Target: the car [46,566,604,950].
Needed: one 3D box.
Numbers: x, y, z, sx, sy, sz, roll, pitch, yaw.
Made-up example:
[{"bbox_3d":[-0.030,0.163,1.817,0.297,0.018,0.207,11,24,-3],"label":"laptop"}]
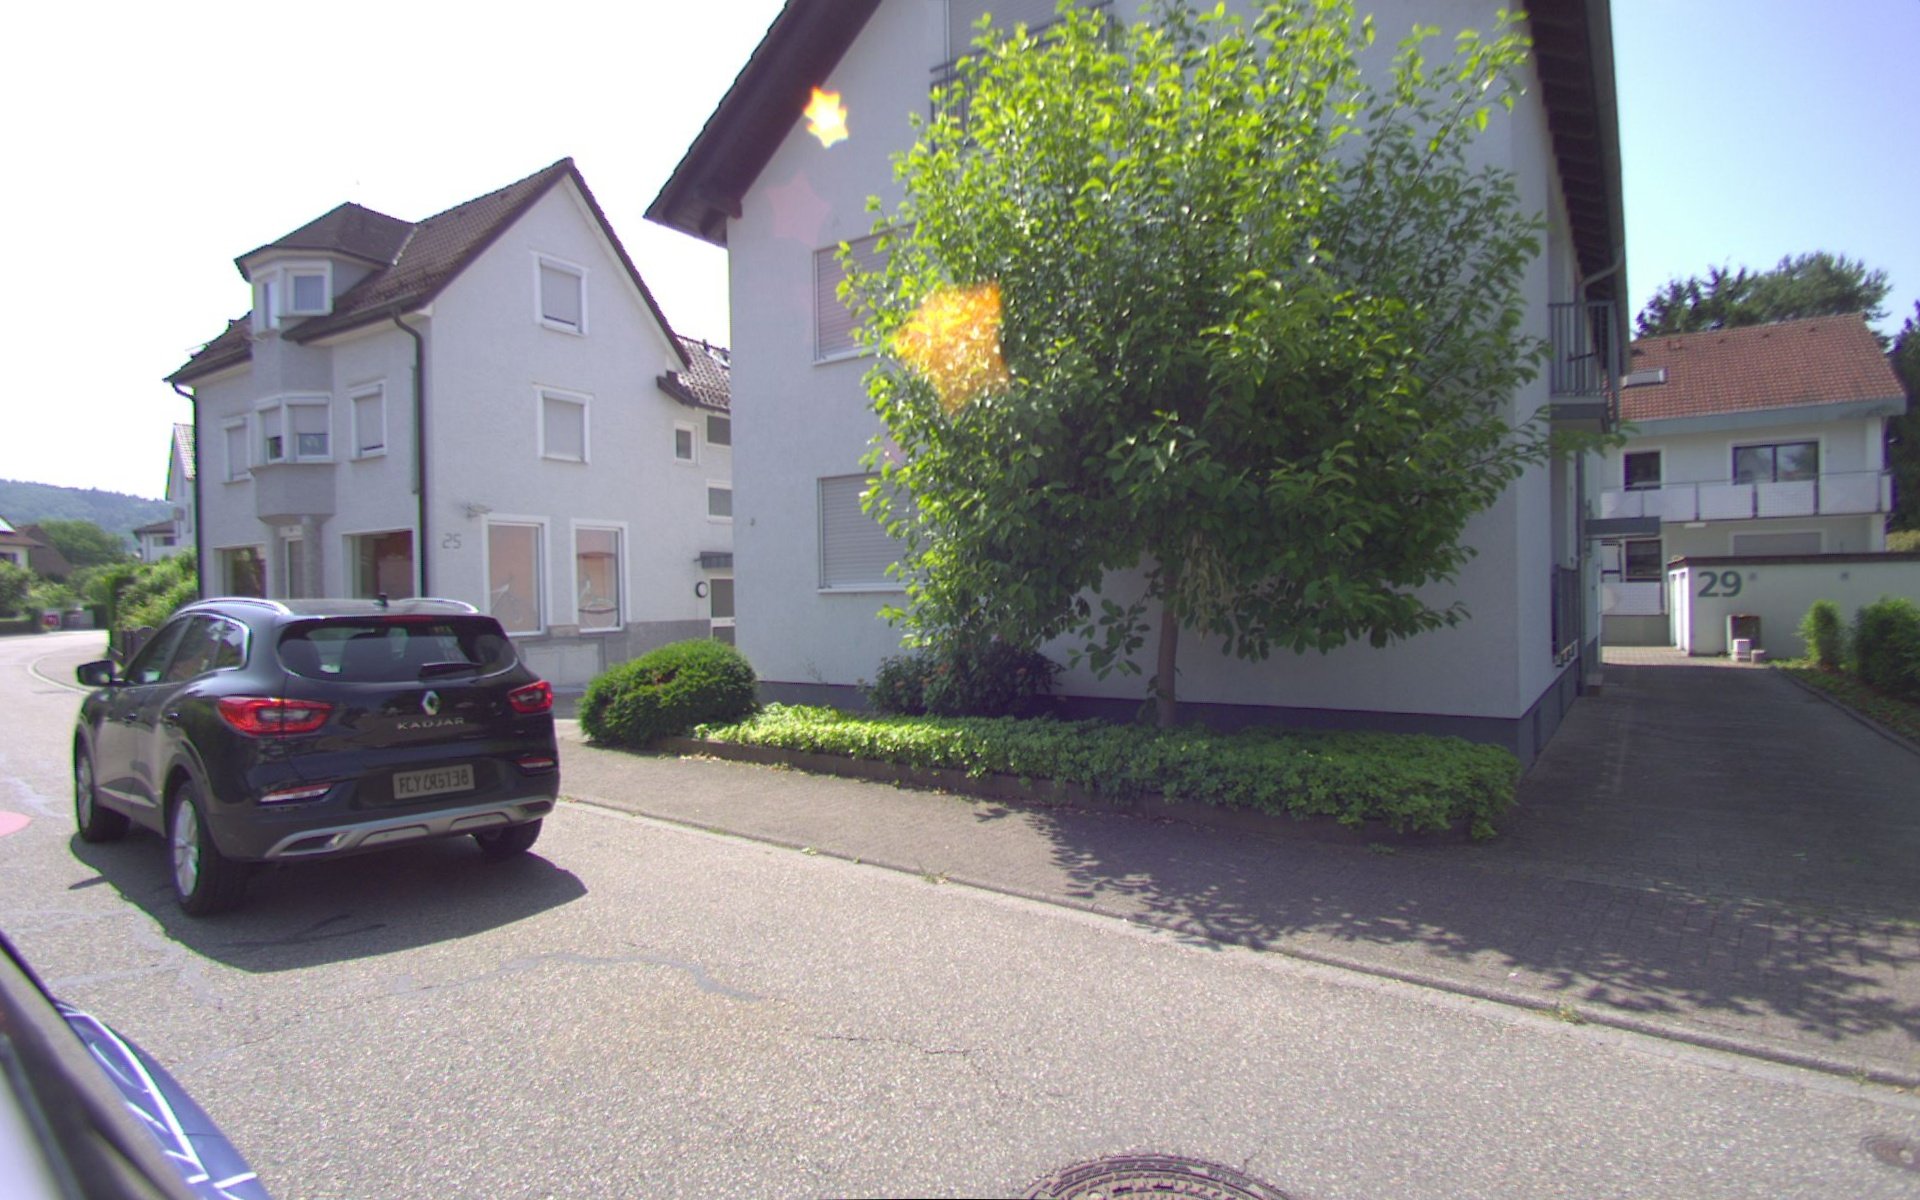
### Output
[{"bbox_3d":[-4.134,0.717,6.316,4.101,1.636,1.758,-1,-1,39],"label":"car"}]
